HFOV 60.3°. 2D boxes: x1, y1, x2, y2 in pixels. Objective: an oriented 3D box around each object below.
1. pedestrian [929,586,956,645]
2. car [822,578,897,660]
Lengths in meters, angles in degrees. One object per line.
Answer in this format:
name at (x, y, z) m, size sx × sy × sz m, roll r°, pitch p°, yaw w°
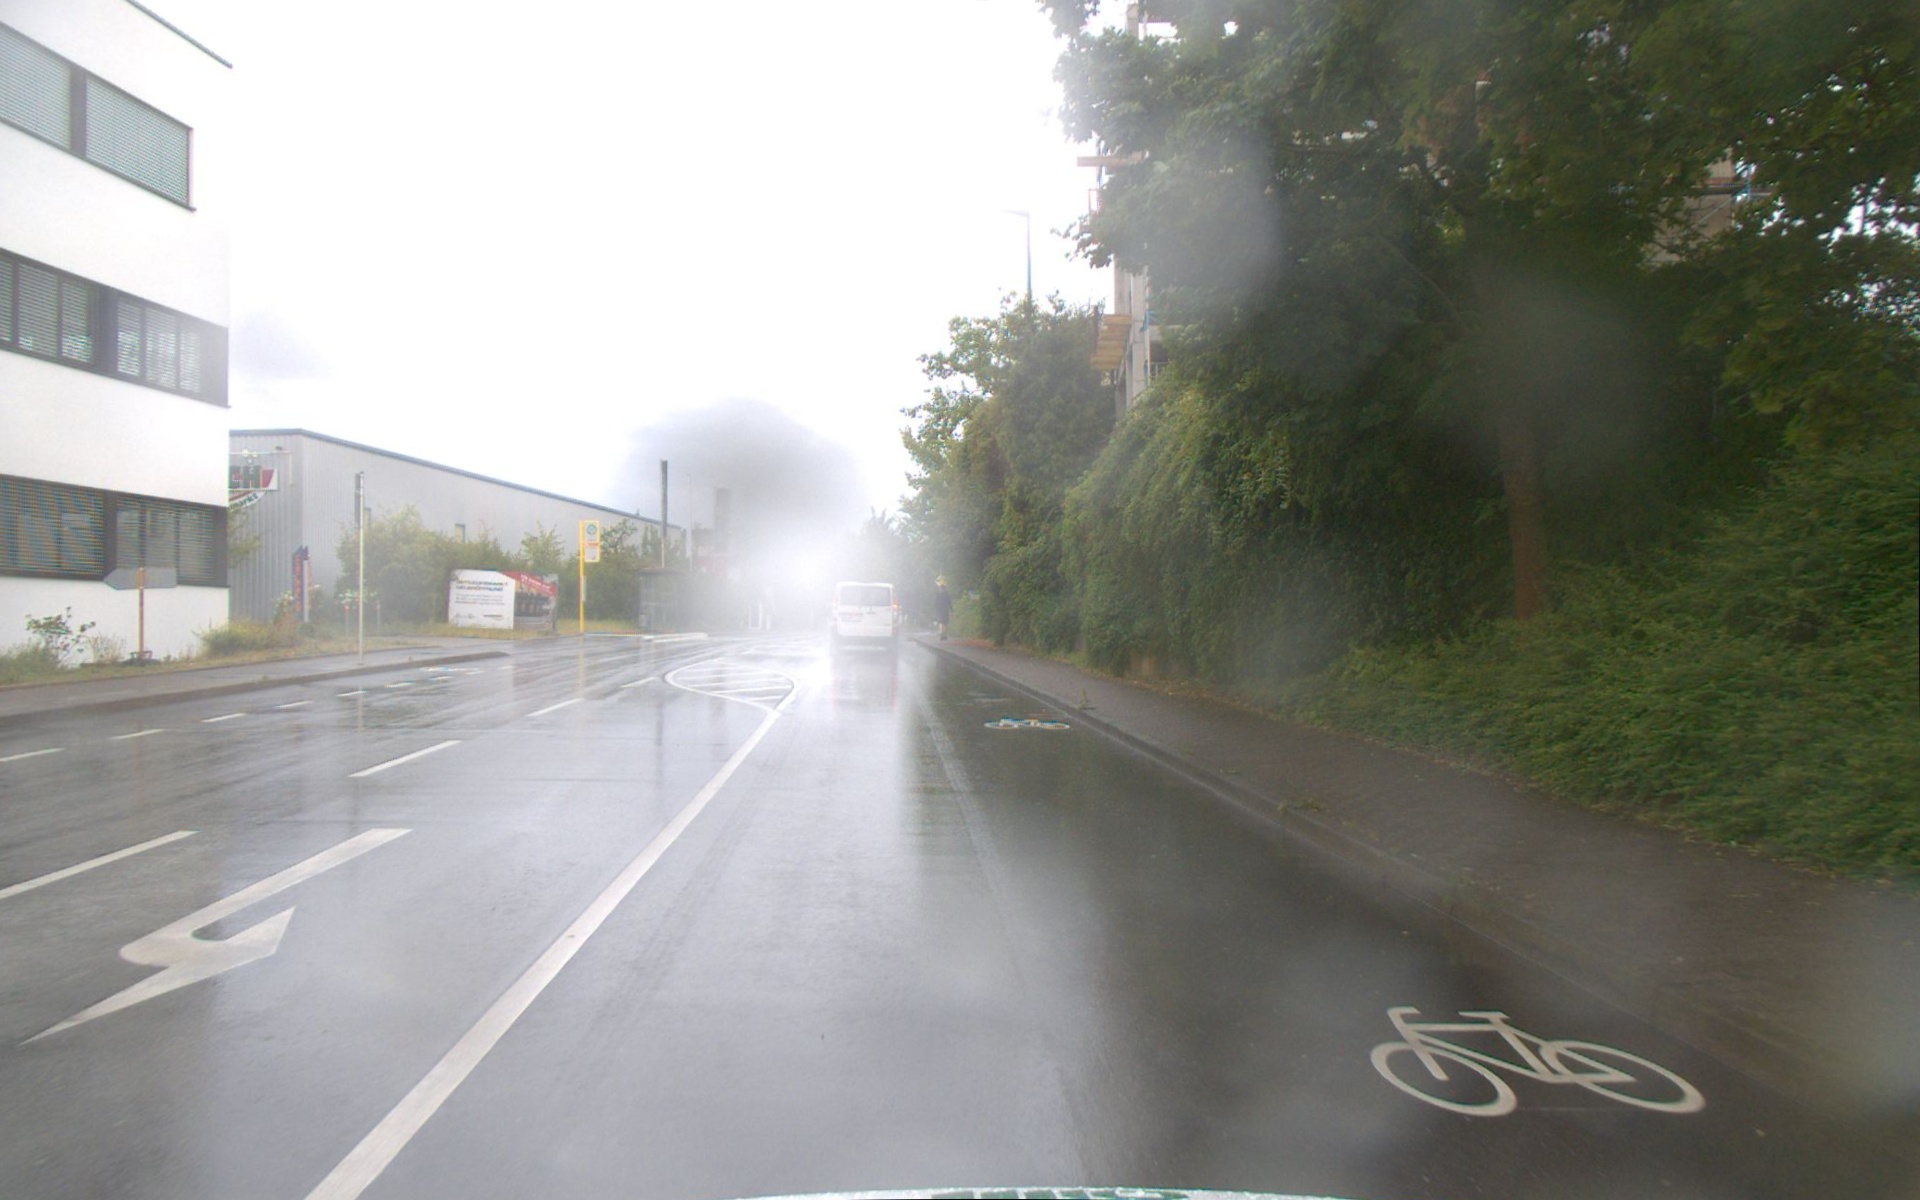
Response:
pedestrian at (-0.594, 0.540, 56.361) m, size 0.761 × 1.940 × 0.728 m, roll -3°, pitch -1°, yaw -4°
car at (-2.758, 0.505, 45.920) m, size 1.861 × 2.053 × 5.369 m, roll -3°, pitch 0°, yaw -3°
